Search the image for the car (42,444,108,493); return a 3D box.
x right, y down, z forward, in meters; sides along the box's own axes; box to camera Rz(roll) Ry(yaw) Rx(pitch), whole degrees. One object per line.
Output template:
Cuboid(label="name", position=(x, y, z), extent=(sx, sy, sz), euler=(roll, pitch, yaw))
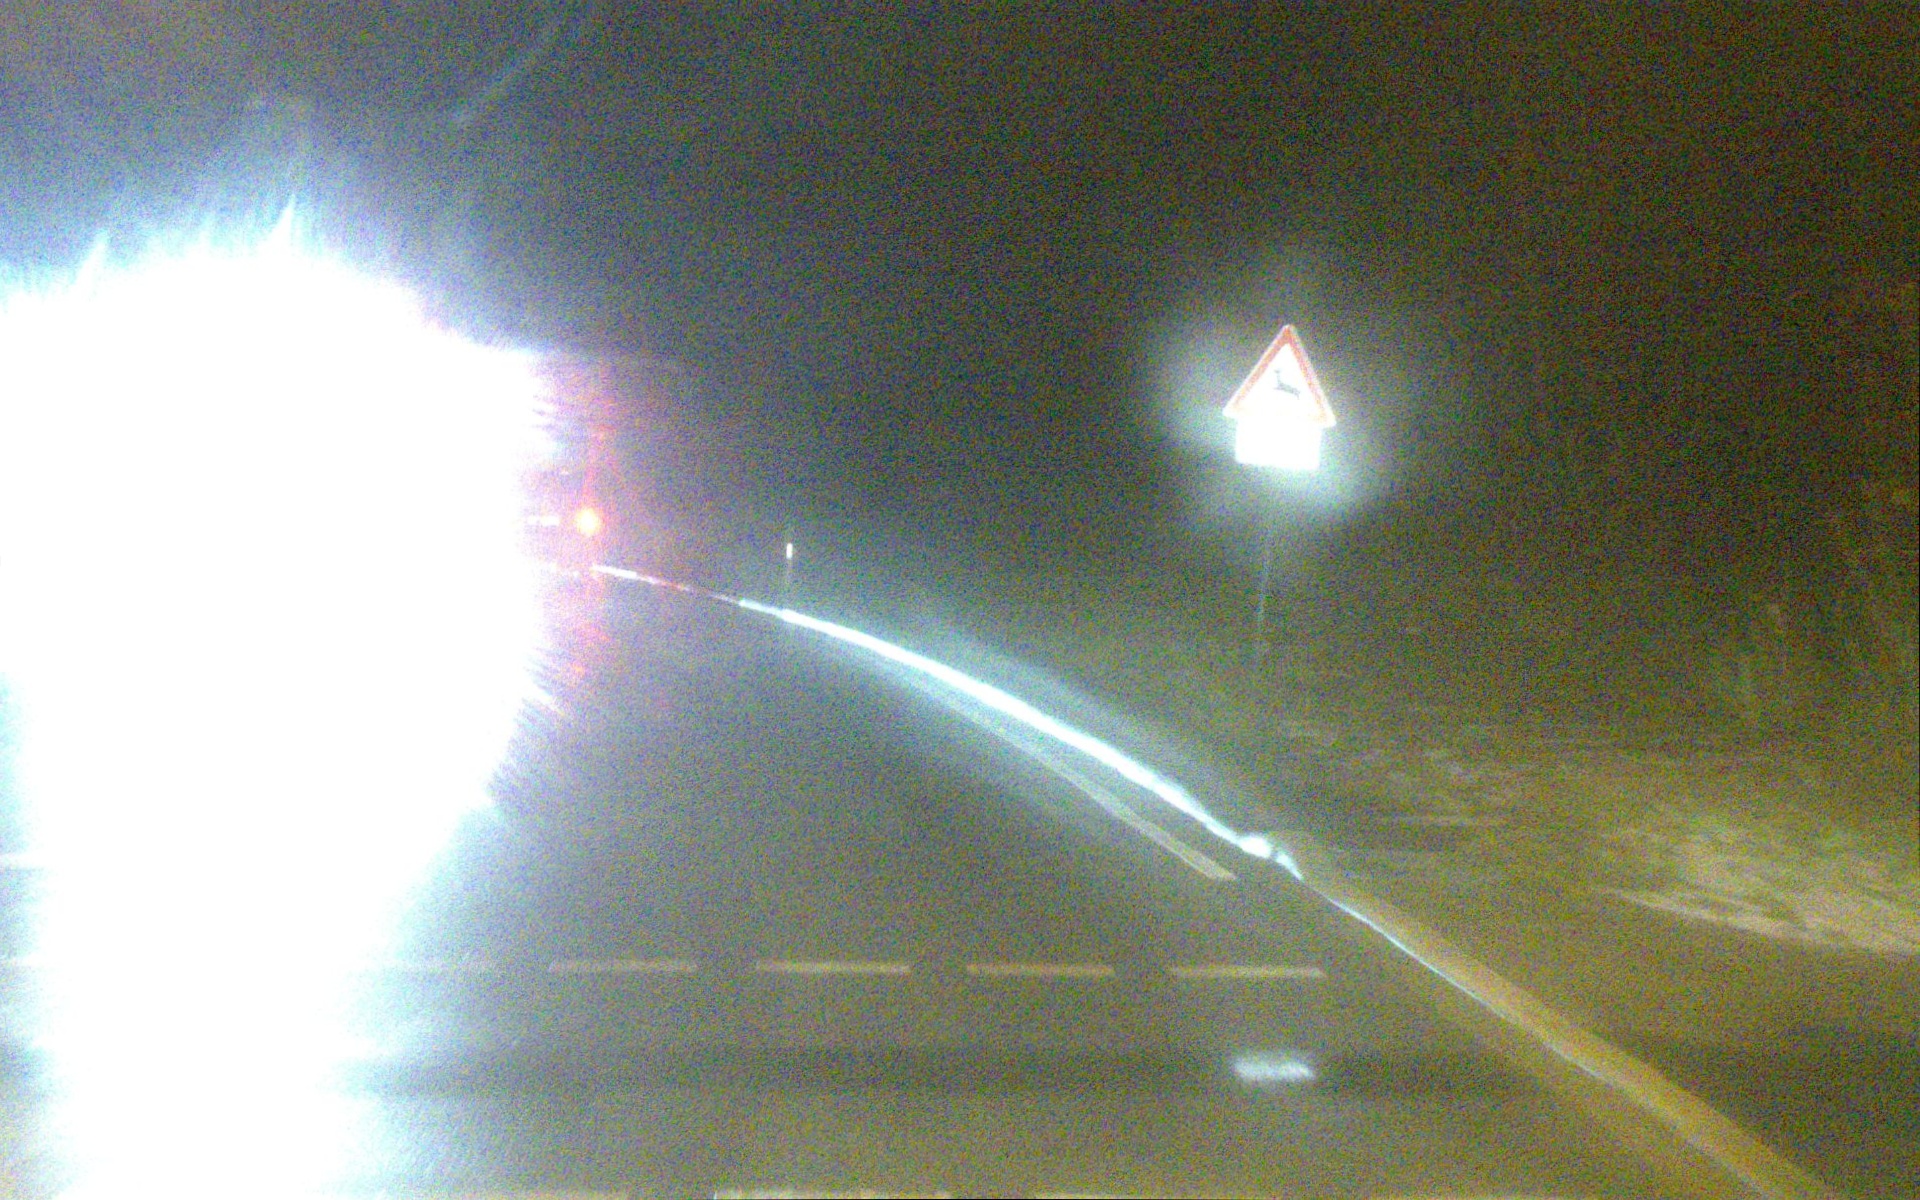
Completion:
Cuboid(label="car", position=(-27.930, -4.146, 108.440), extent=(1.635, 1.504, 4.097), euler=(-1, 2, -20))

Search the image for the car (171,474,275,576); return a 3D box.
Cuboid(label="car", position=(-15.594, -1.563, 72.731), extent=(1.993, 2.007, 4.847), euler=(2, 0, -12))

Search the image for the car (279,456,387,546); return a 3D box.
Cuboid(label="car", position=(-15.440, -2.416, 84.562), extent=(1.993, 2.007, 4.001), euler=(2, -1, -18))

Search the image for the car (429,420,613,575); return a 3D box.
Cuboid(label="car", position=(-7.493, -1.788, 58.112), extent=(2.538, 2.489, 5.717), euler=(0, 3, -13))
